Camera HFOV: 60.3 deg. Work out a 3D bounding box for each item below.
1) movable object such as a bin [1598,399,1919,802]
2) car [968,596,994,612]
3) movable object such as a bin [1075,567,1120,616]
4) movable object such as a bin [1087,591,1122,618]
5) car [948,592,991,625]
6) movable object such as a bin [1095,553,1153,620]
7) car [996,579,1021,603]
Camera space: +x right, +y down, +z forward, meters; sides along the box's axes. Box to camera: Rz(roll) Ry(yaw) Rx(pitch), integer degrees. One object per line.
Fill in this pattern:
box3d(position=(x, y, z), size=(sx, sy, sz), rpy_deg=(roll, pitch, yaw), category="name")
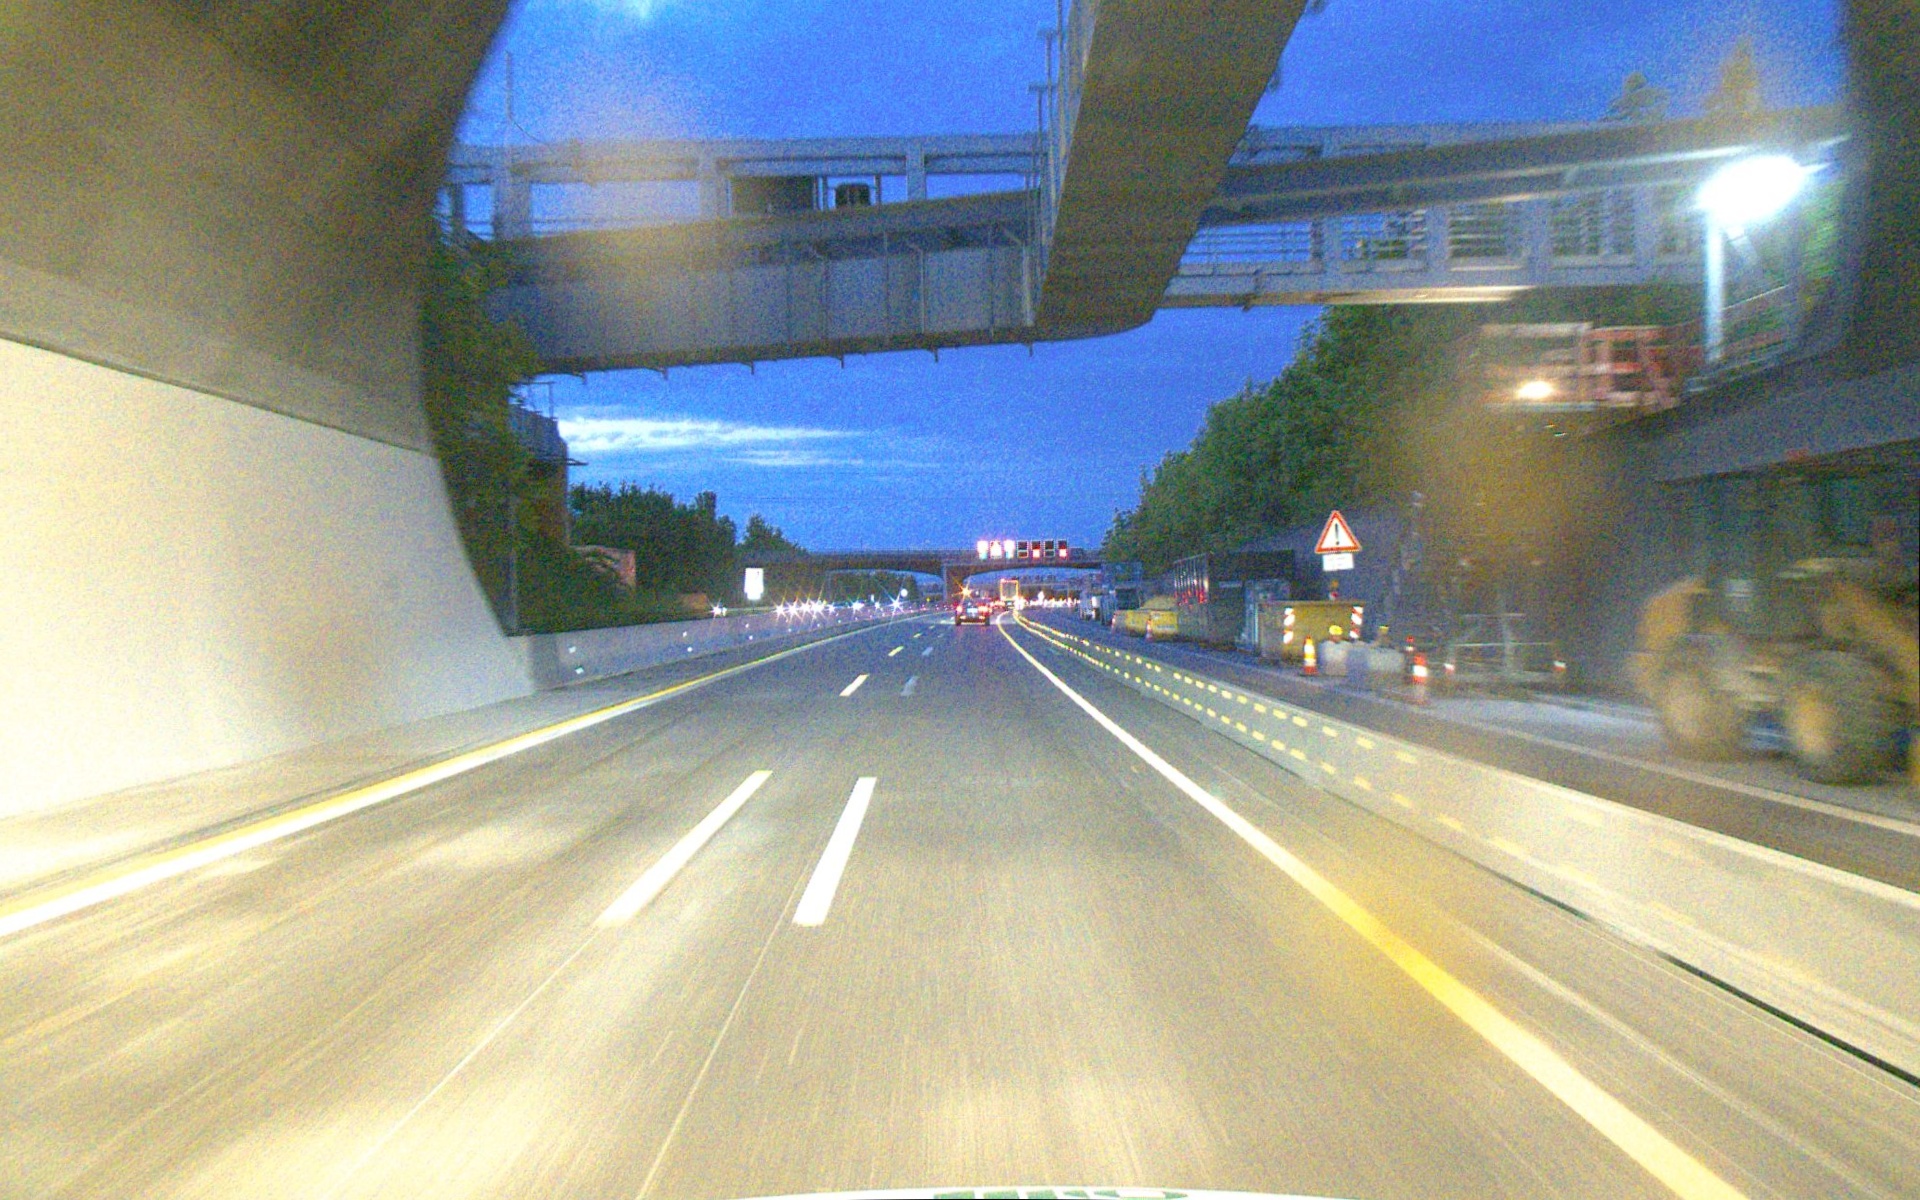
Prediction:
box3d(position=(8.282, 0.034, 13.967), size=(2.909, 2.877, 7.195), rpy_deg=(1, 0, -1), category="movable object such as a bin")
box3d(position=(1.888, 0.372, 149.275), size=(1.930, 1.462, 4.003), rpy_deg=(1, 0, 6), category="car")
box3d(position=(9.217, -0.542, 111.165), size=(2.567, 3.162, 5.806), rpy_deg=(-1, 0, 1), category="movable object such as a bin")
box3d(position=(9.265, 0.322, 106.198), size=(1.952, 1.629, 4.085), rpy_deg=(-2, -1, 2), category="movable object such as a bin")
box3d(position=(0.527, 0.448, 88.071), size=(2.219, 1.650, 4.000), rpy_deg=(1, 0, 1), category="car")
box3d(position=(8.692, -0.674, 88.210), size=(2.511, 3.376, 5.579), rpy_deg=(-1, 0, 1), category="movable object such as a bin")
box3d(position=(7.120, -1.292, 241.865), size=(3.530, 3.455, 8.016), rpy_deg=(1, 0, 2), category="car")
